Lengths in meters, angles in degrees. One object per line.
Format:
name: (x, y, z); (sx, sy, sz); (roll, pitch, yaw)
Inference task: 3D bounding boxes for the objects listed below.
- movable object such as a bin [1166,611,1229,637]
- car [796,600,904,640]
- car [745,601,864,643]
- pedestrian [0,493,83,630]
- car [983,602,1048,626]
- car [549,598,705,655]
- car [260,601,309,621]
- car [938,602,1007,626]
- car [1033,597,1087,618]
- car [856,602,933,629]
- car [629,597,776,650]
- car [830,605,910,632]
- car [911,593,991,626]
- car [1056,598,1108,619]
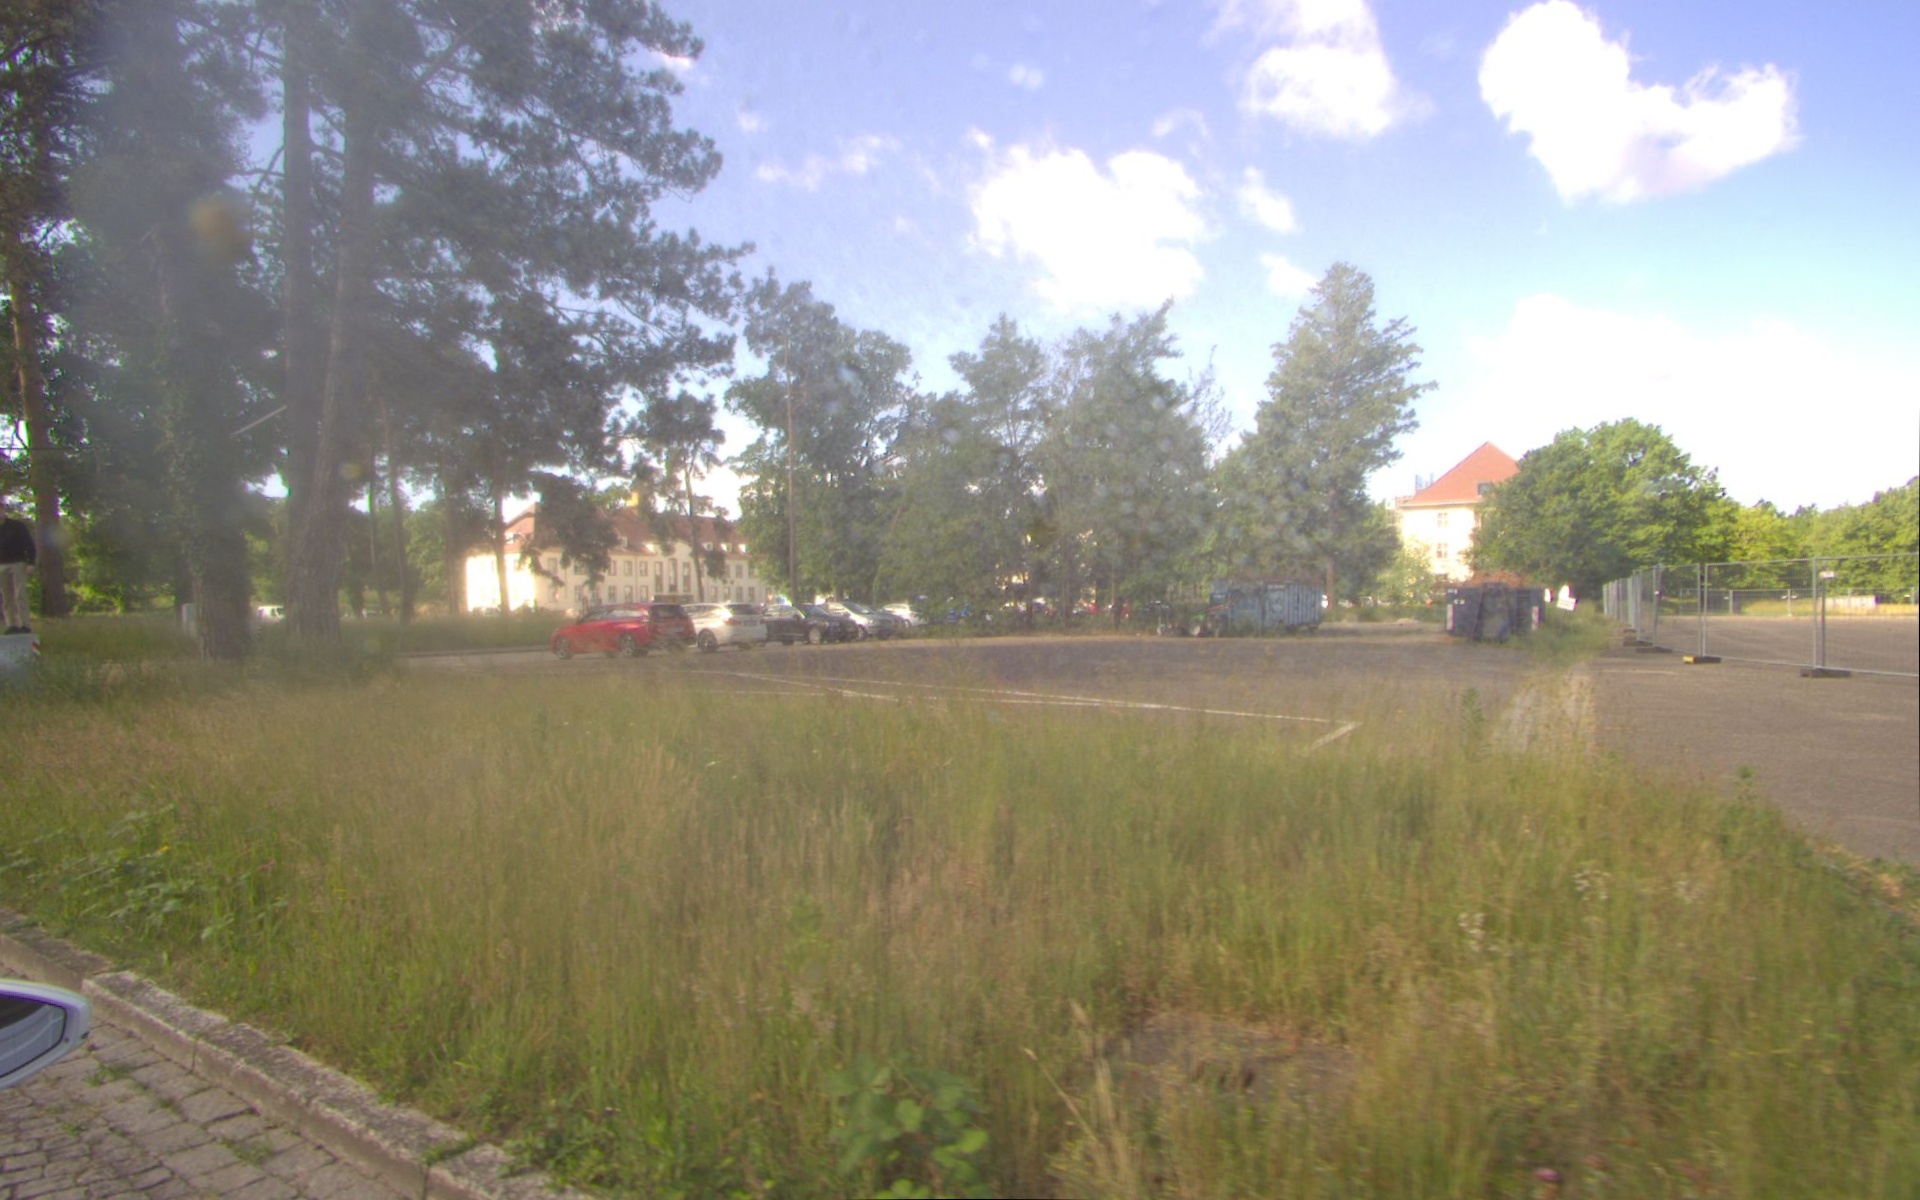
movable object such as a bin: (7.287, 0.733, 30.742); (1.696, 0.762, 1.143); (-1, 0, 26)
car: (-4.064, 0.721, 36.821); (3.740, 1.390, 1.719); (0, -1, 35)
car: (-5.334, 0.740, 34.201); (3.988, 1.332, 1.612); (0, 1, 33)
pedestrian: (-12.968, -0.511, 13.727); (1.154, 1.820, 1.057); (-1, 2, -28)
car: (3.820, 0.976, 69.241); (4.181, 1.568, 1.720); (0, -1, 33)
car: (-9.075, 0.738, 27.160); (4.266, 1.417, 1.744); (-2, -1, 33)
car: (-55.486, 0.925, 82.249); (4.103, 1.603, 1.823); (0, 1, 33)
car: (0.784, 0.891, 63.830); (4.181, 1.443, 1.720); (0, -1, 33)
car: (7.447, 0.588, 74.520); (3.640, 1.568, 1.705); (0, -1, 33)
car: (-3.766, 0.878, 57.350); (4.181, 1.487, 1.720); (0, -1, 33)
car: (-7.647, 0.716, 29.622); (4.180, 1.396, 1.776); (-3, -1, 31)
car: (-4.903, 1.018, 54.507); (4.181, 1.443, 1.720); (0, -1, 33)
car: (-0.569, 0.620, 61.527); (4.677, 1.973, 1.981); (0, -1, 33)
car: (9.485, 0.655, 77.911); (3.682, 1.568, 1.705); (0, -1, 33)
